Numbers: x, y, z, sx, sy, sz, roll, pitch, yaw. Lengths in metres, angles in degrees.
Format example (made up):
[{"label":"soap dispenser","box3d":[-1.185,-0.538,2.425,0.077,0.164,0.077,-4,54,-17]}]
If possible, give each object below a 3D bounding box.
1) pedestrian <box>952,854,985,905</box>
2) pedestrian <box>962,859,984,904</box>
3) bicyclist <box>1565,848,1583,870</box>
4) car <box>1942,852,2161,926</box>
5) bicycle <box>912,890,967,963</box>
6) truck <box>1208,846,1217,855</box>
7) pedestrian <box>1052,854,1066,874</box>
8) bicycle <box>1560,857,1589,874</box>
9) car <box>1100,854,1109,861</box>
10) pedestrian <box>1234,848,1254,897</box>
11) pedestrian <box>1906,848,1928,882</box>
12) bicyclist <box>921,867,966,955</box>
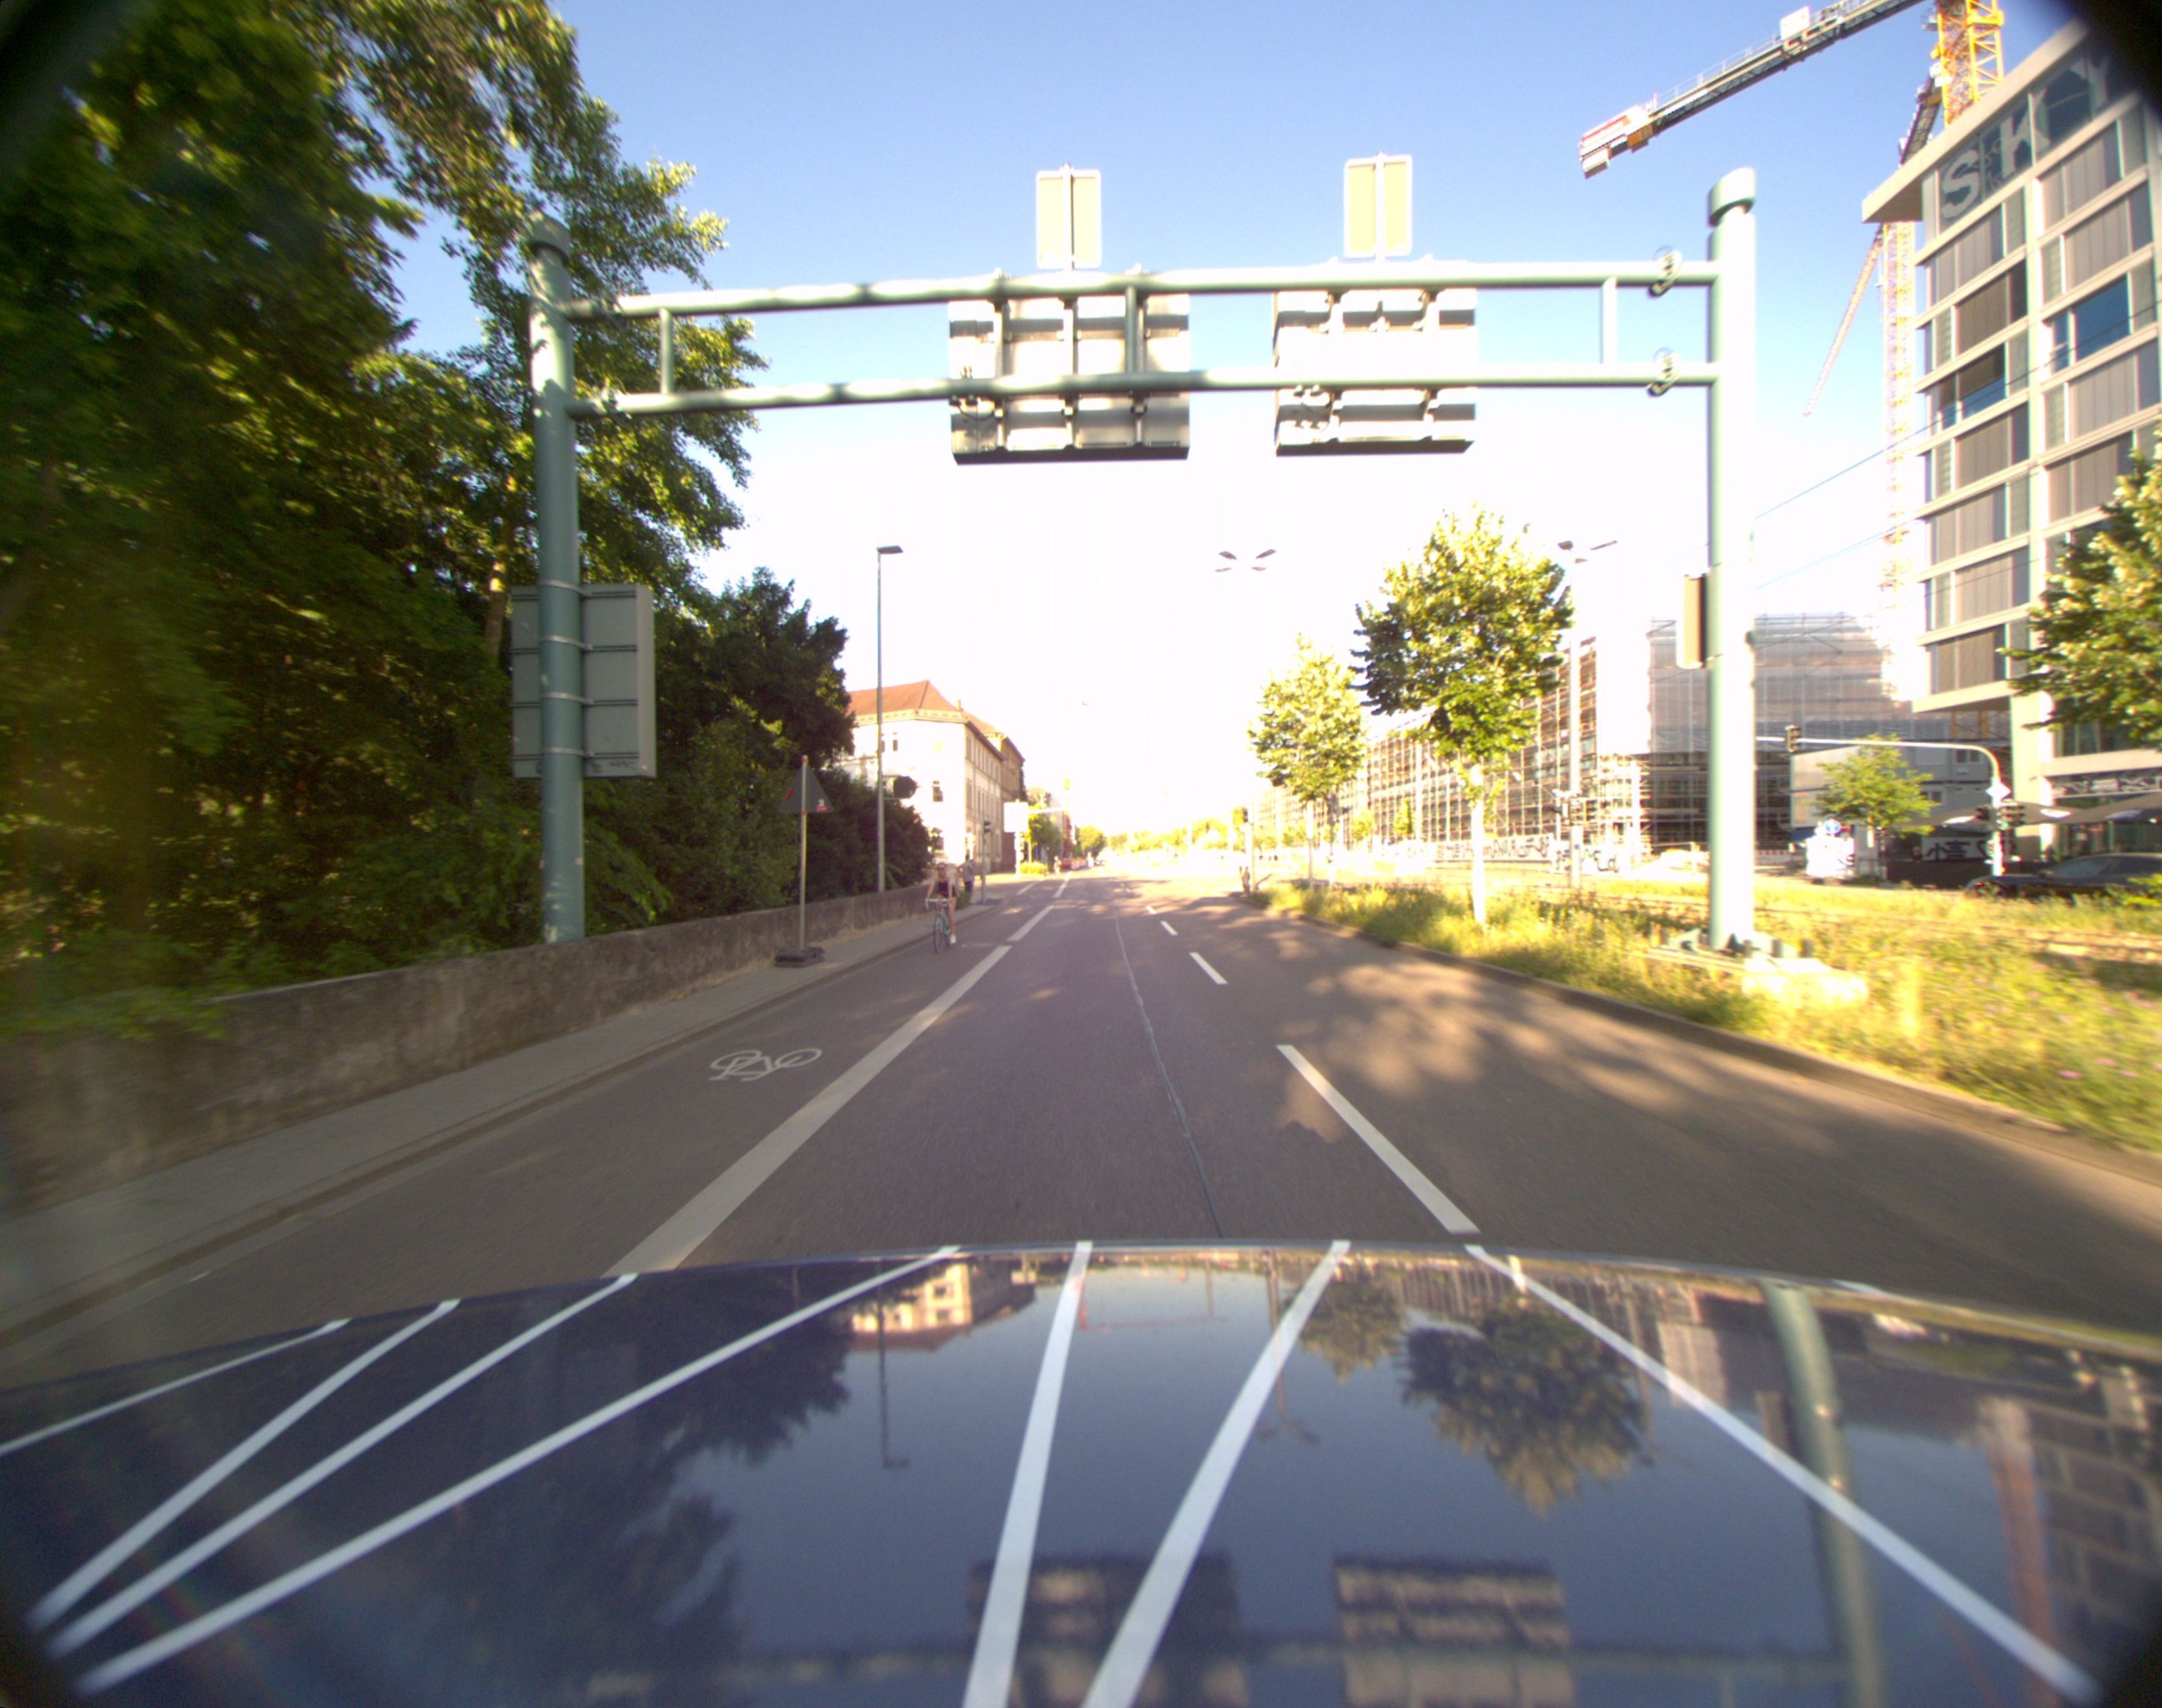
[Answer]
[{"label":"pedestrian","box3d":[-4.053,0.899,27.337,0.861,1.792,0.905,1,1,-33]},{"label":"pedestrian","box3d":[-4.005,0.998,28.113,0.768,1.627,0.769,1,0,-8]},{"label":"bicyclist","box3d":[32.537,0.346,50.127,0.626,1.456,0.851,-1,1,2]},{"label":"car","box3d":[20.718,0.641,15.046,1.896,1.336,4.850,-1,0,1]},{"label":"bicycle","box3d":[-2.466,1.246,13.451,0.522,1.091,1.843,-3,0,1]},{"label":"truck","box3d":[37.649,-1.037,218.031,2.143,2.559,4.741,-1,0,3]},{"label":"pedestrian","box3d":[-1.811,0.833,62.458,0.924,1.639,0.767,0,1,35]},{"label":"bicycle","box3d":[32.534,0.765,50.150,0.626,1.060,2.078,-1,0,2]},{"label":"car","box3d":[5.508,0.834,177.864,1.999,1.696,3.999,-1,0,-1]},{"label":"pedestrian","box3d":[5.667,0.636,26.375,0.599,1.689,0.714,-1,1,7]},{"label":"pedestrian","box3d":[37.386,0.502,33.986,0.589,1.490,0.575,-1,1,-35]},{"label":"bicyclist","box3d":[-2.435,0.982,13.523,0.553,1.482,1.081,-1,0,1]}]
